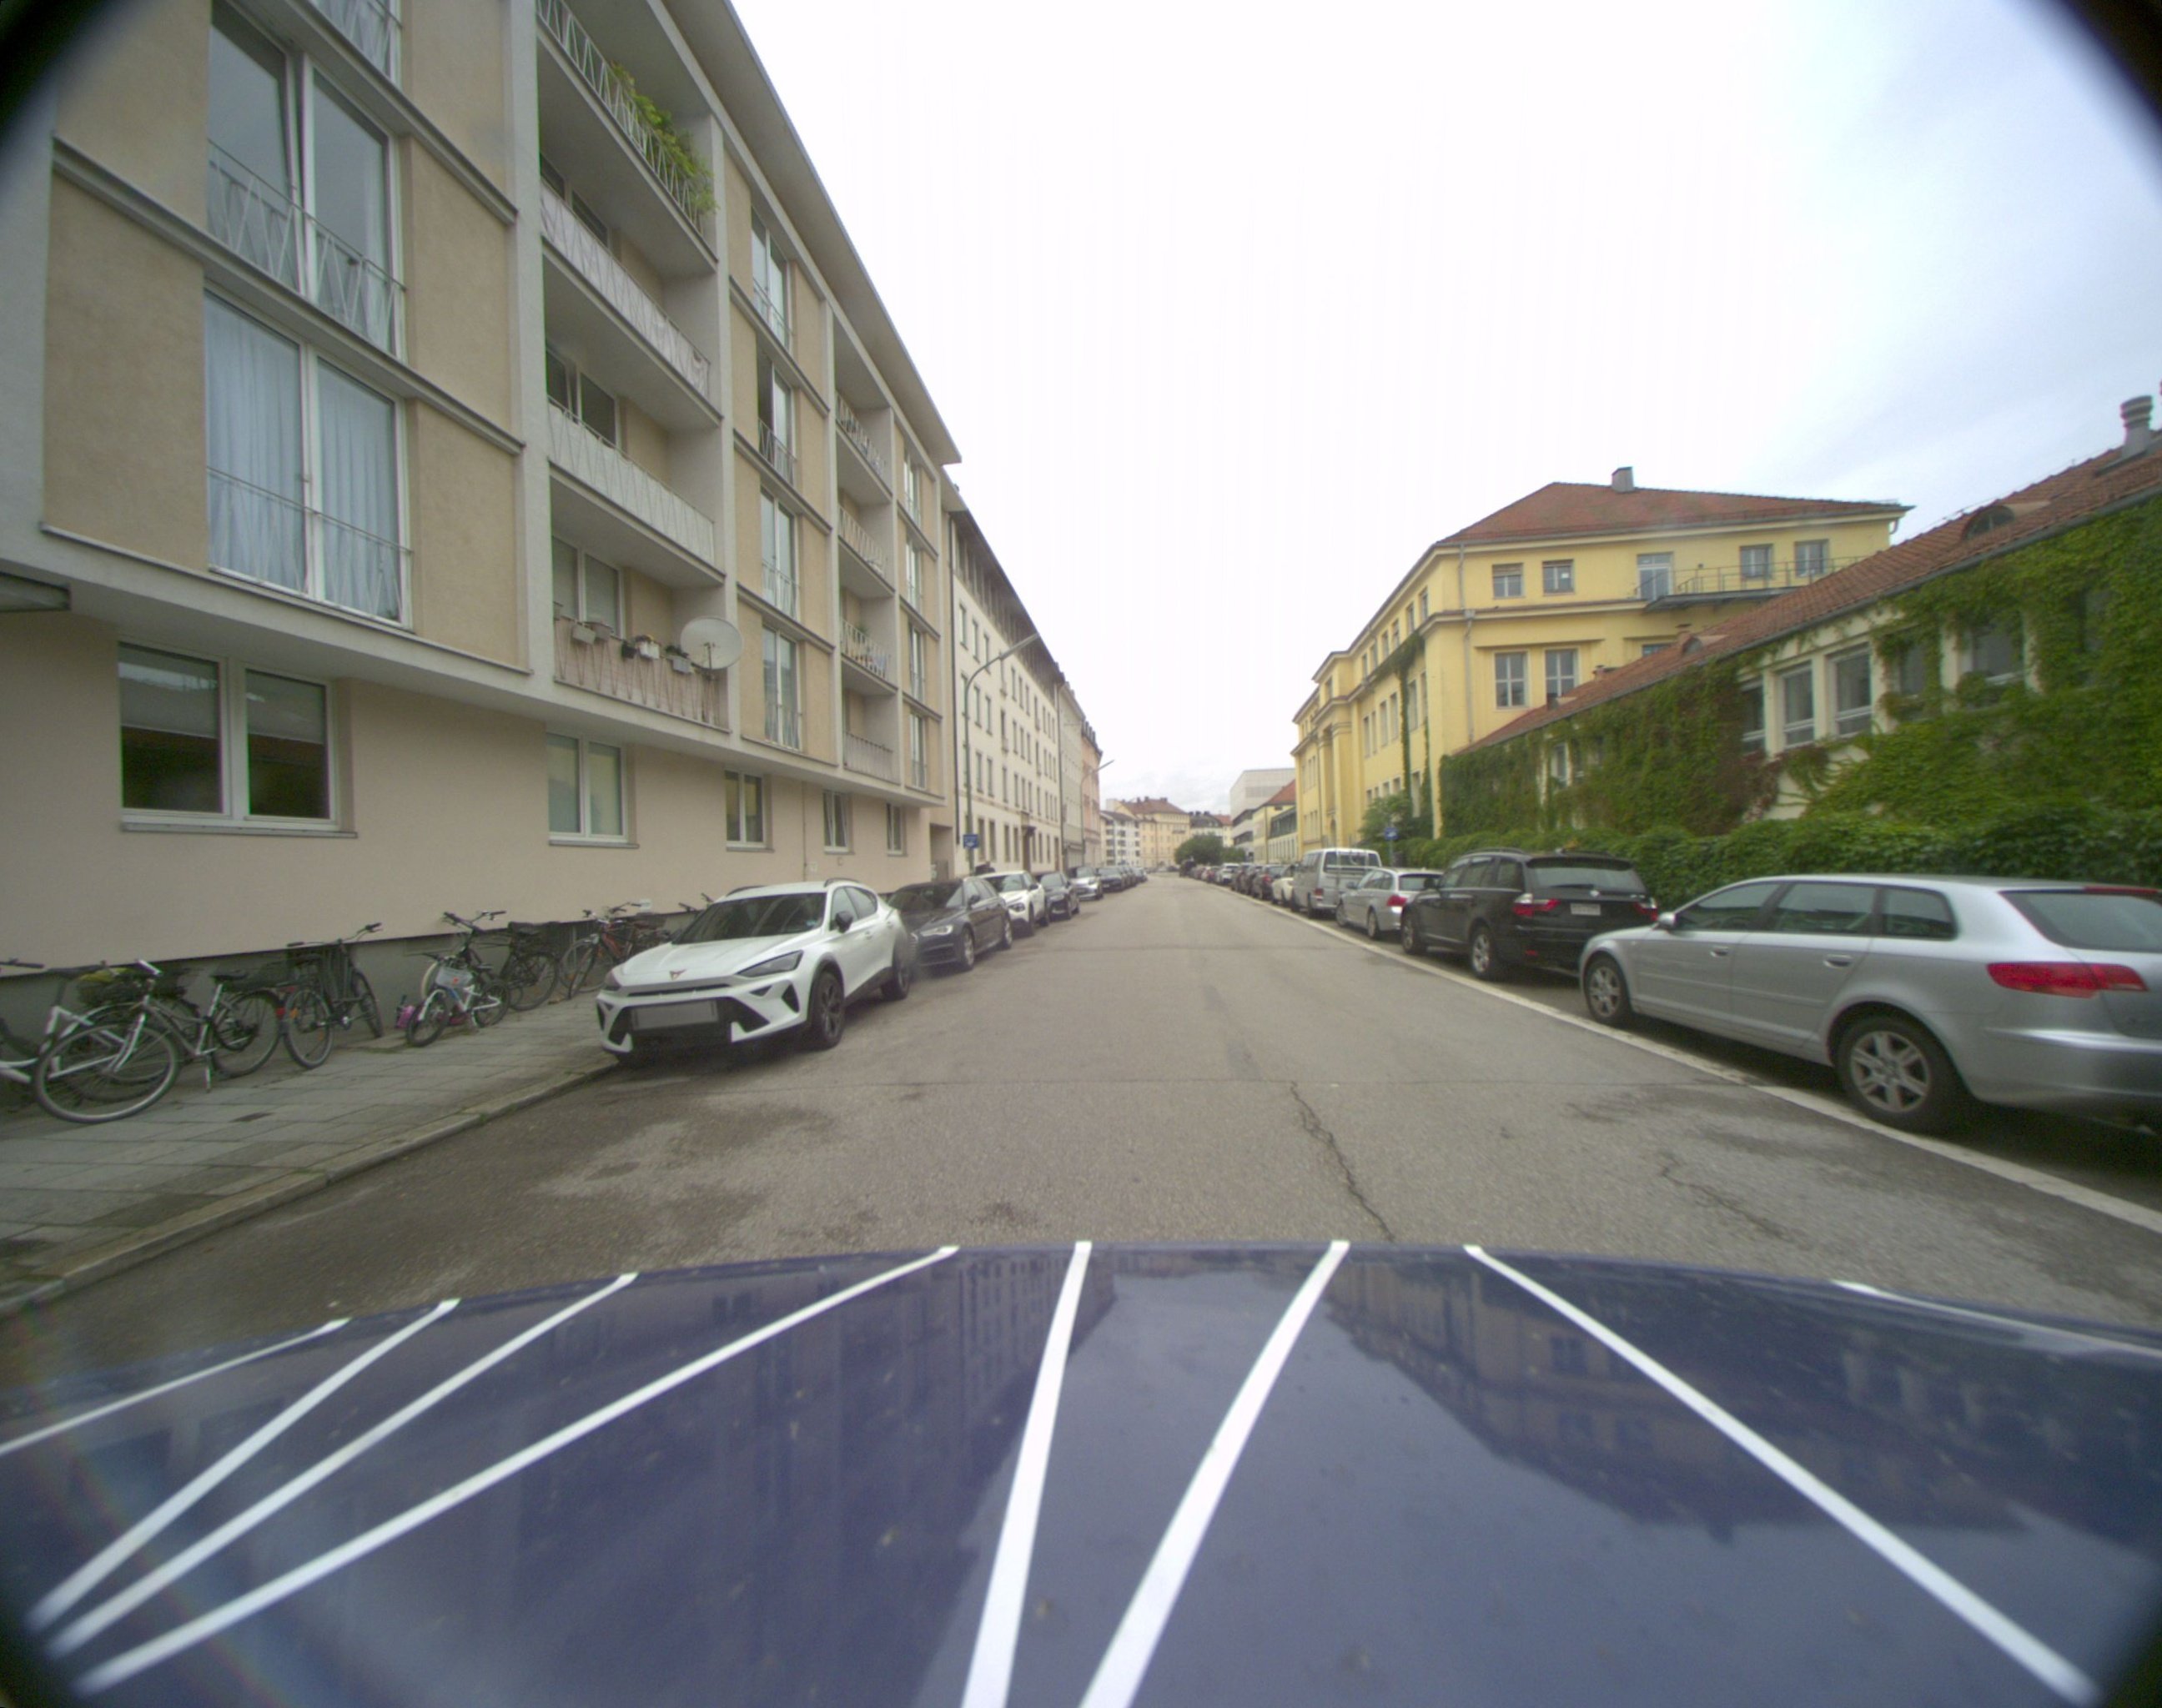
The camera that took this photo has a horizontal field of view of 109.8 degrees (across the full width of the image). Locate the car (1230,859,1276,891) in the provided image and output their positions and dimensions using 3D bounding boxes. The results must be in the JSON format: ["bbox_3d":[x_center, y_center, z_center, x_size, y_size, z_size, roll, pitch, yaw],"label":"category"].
[{"bbox_3d":[9.383,1.103,41.716,1.793,1.577,4.820,1,0,5],"label":"car"}]

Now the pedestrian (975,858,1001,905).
[{"bbox_3d":[-3.637,1.074,29.650,0.724,1.753,0.905,-2,2,8],"label":"pedestrian"}]

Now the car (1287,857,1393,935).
[{"bbox_3d":[7.040,1.050,21.197,1.890,1.878,4.777,1,0,8],"label":"car"}]

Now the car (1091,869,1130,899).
[{"bbox_3d":[1.762,1.686,44.119,1.806,1.475,5.323,-4,-1,6],"label":"car"}]

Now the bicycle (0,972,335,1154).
[{"bbox_3d":[-6.816,1.488,5.784,0.456,0.918,1.736,-2,0,4],"label":"bicycle"}]

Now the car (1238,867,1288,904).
[{"bbox_3d":[8.761,1.462,36.896,1.728,1.620,4.468,1,0,5],"label":"car"}]

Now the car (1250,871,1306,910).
[{"bbox_3d":[8.187,1.463,31.853,1.607,1.422,4.253,2,0,6],"label":"car"}]

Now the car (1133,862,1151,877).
[{"bbox_3d":[7.206,1.848,89.923,1.685,1.663,3.804,-3,-1,-1],"label":"car"}]

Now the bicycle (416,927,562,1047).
[{"bbox_3d":[-6.590,1.444,8.539,0.378,1.113,1.393,-2,0,8],"label":"bicycle"}]

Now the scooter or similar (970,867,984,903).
[{"bbox_3d":[-4.272,1.250,31.293,0.441,1.351,1.589,-2,2,-5],"label":"scooter or similar"}]

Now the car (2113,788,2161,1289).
[{"bbox_3d":[5.196,0.725,0.397,2.078,1.952,5.350,0,0,1],"label":"car"}]

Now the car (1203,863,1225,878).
[{"bbox_3d":[13.594,1.679,78.009,1.797,1.421,4.667,2,0,5],"label":"car"}]

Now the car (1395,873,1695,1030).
[{"bbox_3d":[5.878,1.107,10.365,1.701,1.633,4.494,1,-2,6],"label":"car"}]

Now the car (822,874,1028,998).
[{"bbox_3d":[-2.398,1.237,13.298,1.884,1.513,5.166,-5,-1,7],"label":"car"}]

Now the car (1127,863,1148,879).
[{"bbox_3d":[5.561,1.635,74.197,1.691,1.393,4.367,-2,-1,8],"label":"car"}]

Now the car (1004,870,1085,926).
[{"bbox_3d":[-0.988,1.248,23.182,1.749,1.380,4.956,-4,-1,5],"label":"car"}]

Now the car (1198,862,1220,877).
[{"bbox_3d":[14.111,1.674,83.680,1.962,1.473,4.531,1,0,4],"label":"car"}]

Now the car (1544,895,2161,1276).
[{"bbox_3d":[5.379,1.127,5.381,1.698,1.385,4.503,3,0,5],"label":"car"}]

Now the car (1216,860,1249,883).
[{"bbox_3d":[10.975,1.237,55.257,1.749,1.624,4.858,0,0,4],"label":"car"}]

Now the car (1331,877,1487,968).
[{"bbox_3d":[6.512,1.264,15.673,1.656,1.406,4.774,2,0,7],"label":"car"}]

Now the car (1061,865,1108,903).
[{"bbox_3d":[0.214,1.320,33.918,1.653,1.486,2.883,-4,-1,7],"label":"car"}]

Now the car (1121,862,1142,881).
[{"bbox_3d":[4.488,1.568,67.608,1.710,1.582,4.364,-3,-1,4],"label":"car"}]

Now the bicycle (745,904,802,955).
[{"bbox_3d":[-6.115,1.484,15.174,0.378,0.899,1.393,-2,0,8],"label":"bicycle"}]

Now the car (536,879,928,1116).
[{"bbox_3d":[-3.082,1.153,8.007,1.789,1.524,4.649,-5,-1,1],"label":"car"}]

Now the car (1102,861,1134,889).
[{"bbox_3d":[2.455,1.334,49.330,1.648,1.580,4.637,-4,-1,7],"label":"car"}]

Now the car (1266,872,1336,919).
[{"bbox_3d":[7.629,1.384,26.625,1.594,1.432,4.021,1,0,5],"label":"car"}]

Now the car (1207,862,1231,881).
[{"bbox_3d":[11.836,1.470,65.307,1.702,1.488,4.151,2,0,7],"label":"car"}]

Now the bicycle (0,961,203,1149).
[{"bbox_3d":[-7.410,1.415,5.232,0.456,1.104,1.855,-2,0,4],"label":"bicycle"}]

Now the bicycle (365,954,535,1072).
[{"bbox_3d":[-6.234,1.538,7.598,0.378,0.899,1.393,-2,0,8],"label":"bicycle"}]

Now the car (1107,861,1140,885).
[{"bbox_3d":[3.084,1.344,54.160,1.843,1.513,4.712,-3,-1,8],"label":"car"}]

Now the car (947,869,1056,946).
[{"bbox_3d":[-1.751,1.175,18.292,1.698,1.480,4.582,-4,-1,5],"label":"car"}]

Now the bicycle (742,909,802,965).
[{"bbox_3d":[-5.672,1.504,14.018,0.378,0.899,1.393,-1,0,8],"label":"bicycle"}]

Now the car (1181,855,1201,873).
[{"bbox_3d":[17.322,1.595,119.859,2.218,2.836,6.196,1,-1,-1],"label":"car"}]

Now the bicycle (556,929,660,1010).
[{"bbox_3d":[-6.414,1.540,10.384,0.378,0.899,1.393,-2,0,8],"label":"bicycle"}]
